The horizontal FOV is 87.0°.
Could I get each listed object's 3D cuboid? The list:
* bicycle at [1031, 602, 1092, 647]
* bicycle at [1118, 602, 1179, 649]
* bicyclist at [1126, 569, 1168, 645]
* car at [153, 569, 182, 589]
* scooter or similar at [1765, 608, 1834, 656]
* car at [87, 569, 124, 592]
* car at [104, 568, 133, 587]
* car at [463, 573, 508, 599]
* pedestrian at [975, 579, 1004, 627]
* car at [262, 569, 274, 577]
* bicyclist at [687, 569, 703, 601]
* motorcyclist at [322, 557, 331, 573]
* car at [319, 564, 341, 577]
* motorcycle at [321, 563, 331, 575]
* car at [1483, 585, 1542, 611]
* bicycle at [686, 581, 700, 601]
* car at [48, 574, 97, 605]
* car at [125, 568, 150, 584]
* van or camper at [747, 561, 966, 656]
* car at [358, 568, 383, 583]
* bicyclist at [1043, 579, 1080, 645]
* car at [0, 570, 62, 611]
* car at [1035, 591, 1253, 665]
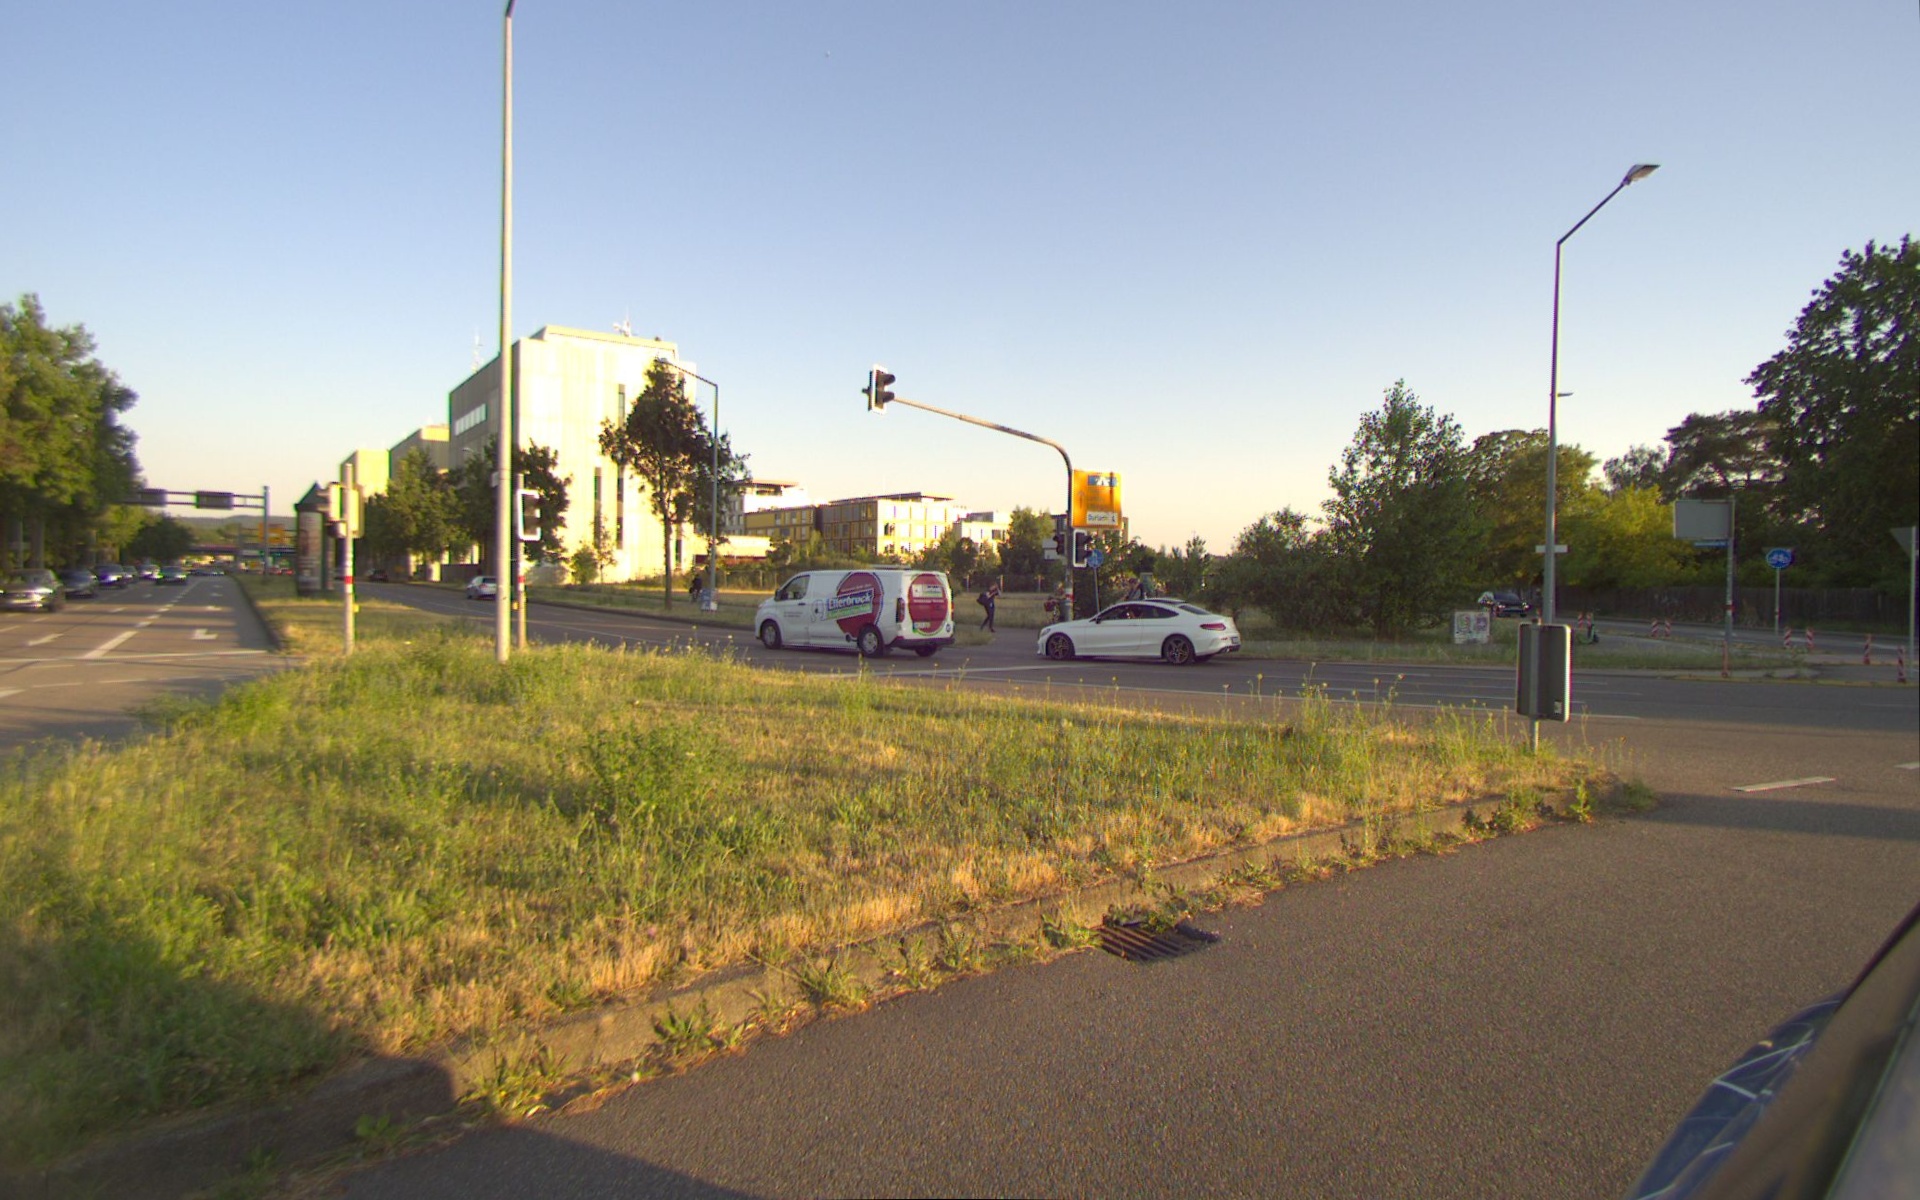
[{"bbox_3d":[2.742,0.641,27.195,1.894,1.098,0.456,-3,3,-40],"label":"bicycle"},{"bbox_3d":[4.896,0.644,26.176,1.894,1.098,0.456,-2,2,-40],"label":"bicycle"},{"bbox_3d":[4.836,0.155,26.146,0.894,1.921,0.640,-2,2,-40],"label":"bicyclist"},{"bbox_3d":[-60.345,-1.601,77.049,1.589,1.471,3.716,-1,2,-36],"label":"car"},{"bbox_3d":[21.215,0.806,25.580,1.356,1.177,0.442,1,1,-2],"label":"scooter or similar"},{"bbox_3d":[-57.012,-1.317,67.566,1.589,1.537,3.716,-1,2,-36],"label":"car"},{"bbox_3d":[-68.501,-1.847,82.419,1.589,1.471,3.716,-1,2,-36],"label":"car"},{"bbox_3d":[-29.234,-0.886,62.285,1.857,1.499,4.051,0,1,-35],"label":"car"},{"bbox_3d":[0.981,0.106,33.598,0.782,1.569,0.567,0,1,-37],"label":"pedestrian"},{"bbox_3d":[-136.570,-5.318,199.681,1.785,1.544,4.133,1,1,-38],"label":"car"},{"bbox_3d":[-14.954,-0.835,57.056,0.527,1.765,0.843,1,1,-38],"label":"bicyclist"},{"bbox_3d":[-58.536,-3.239,93.518,0.625,1.426,0.594,0,1,-39],"label":"motorcyclist"},{"bbox_3d":[-73.103,-3.437,117.424,1.770,1.440,4.447,1,1,-37],"label":"car"},{"bbox_3d":[-58.748,-2.872,93.787,0.548,1.114,2.158,0,1,-39],"label":"motorcycle"},{"bbox_3d":[34.437,-0.144,63.161,1.839,1.504,3.993,1,1,7],"label":"car"},{"bbox_3d":[-15.064,-0.513,57.118,0.275,1.102,1.372,1,1,-37],"label":"bicycle"},{"bbox_3d":[-46.376,-0.591,52.944,1.589,1.537,3.716,-1,2,-36],"label":"car"},{"bbox_3d":[-76.834,-2.225,94.524,1.589,1.471,3.716,-1,2,-36],"label":"car"},{"bbox_3d":[-2.526,0.119,23.598,5.305,1.982,1.971,2,1,40],"label":"van or camper"},{"bbox_3d":[-62.659,-2.652,107.568,1.770,1.482,3.998,1,1,-37],"label":"car"},{"bbox_3d":[2.736,0.319,27.276,0.757,1.722,0.640,-3,3,-40],"label":"bicyclist"},{"bbox_3d":[-36.148,-0.397,39.255,1.589,1.537,3.716,-1,2,-36],"label":"car"},{"bbox_3d":[4.085,0.561,22.722,4.523,1.448,1.726,1,1,32],"label":"car"}]
